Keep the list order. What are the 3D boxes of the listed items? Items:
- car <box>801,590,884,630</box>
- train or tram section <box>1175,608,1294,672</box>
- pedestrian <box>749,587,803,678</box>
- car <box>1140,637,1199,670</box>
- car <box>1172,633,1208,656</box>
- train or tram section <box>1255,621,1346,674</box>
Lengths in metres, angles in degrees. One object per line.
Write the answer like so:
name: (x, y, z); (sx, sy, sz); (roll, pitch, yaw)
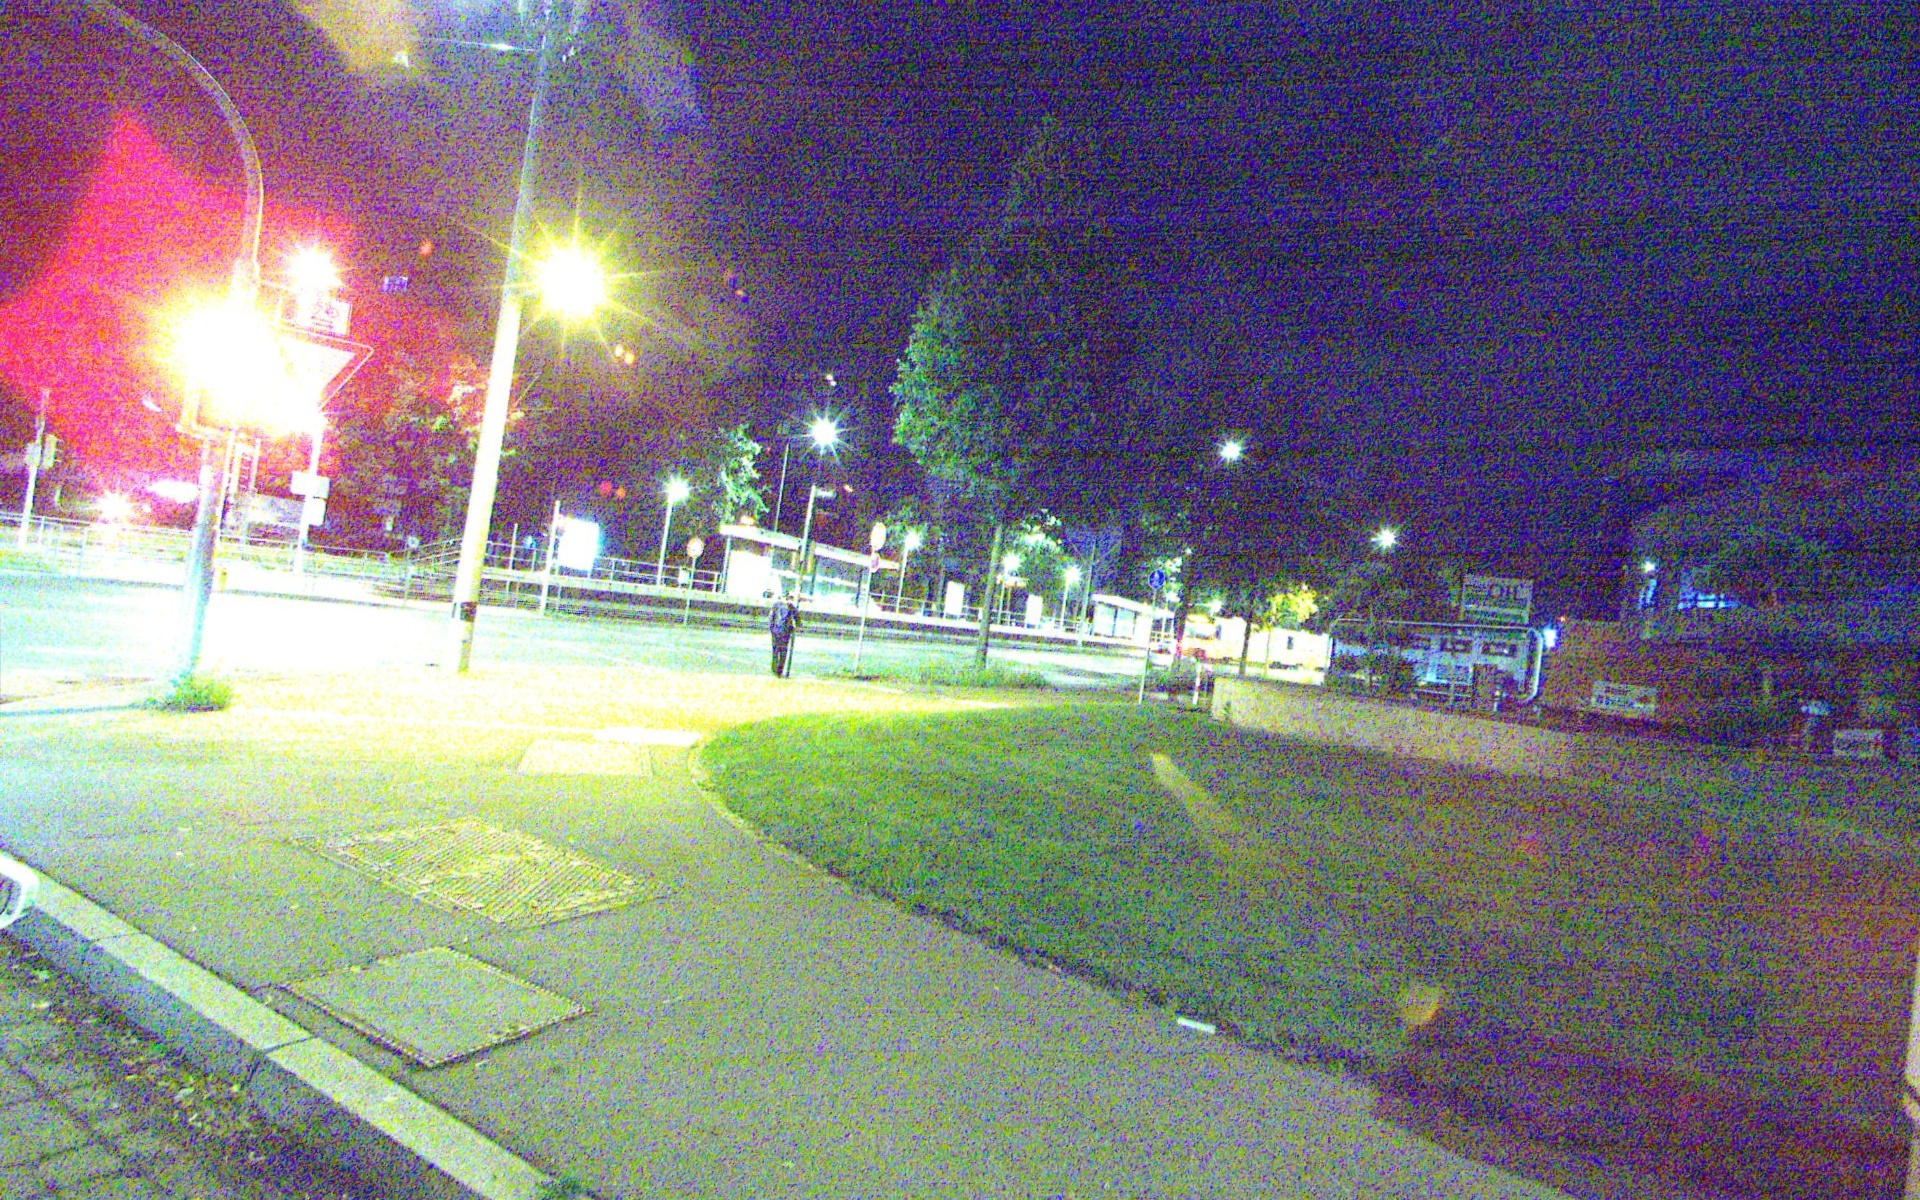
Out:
car: (-6.595, 0.593, 56.841); (1.814, 1.867, 4.780); (5, 0, 35)
train or tram section: (22.846, 3.461, 82.388); (2.918, 3.896, 18.427); (8, 0, 35)
pedestrian: (-3.553, 0.613, 19.380); (0.867, 1.677, 0.835); (3, 1, -18)
car: (11.114, 2.847, 53.278); (1.617, 1.438, 3.687); (7, 0, 35)
car: (22.180, 4.275, 96.906); (1.816, 1.603, 4.578); (8, -2, 33)
train or tram section: (33.452, 4.807, 97.801); (2.919, 3.894, 18.866); (5, -2, 35)
